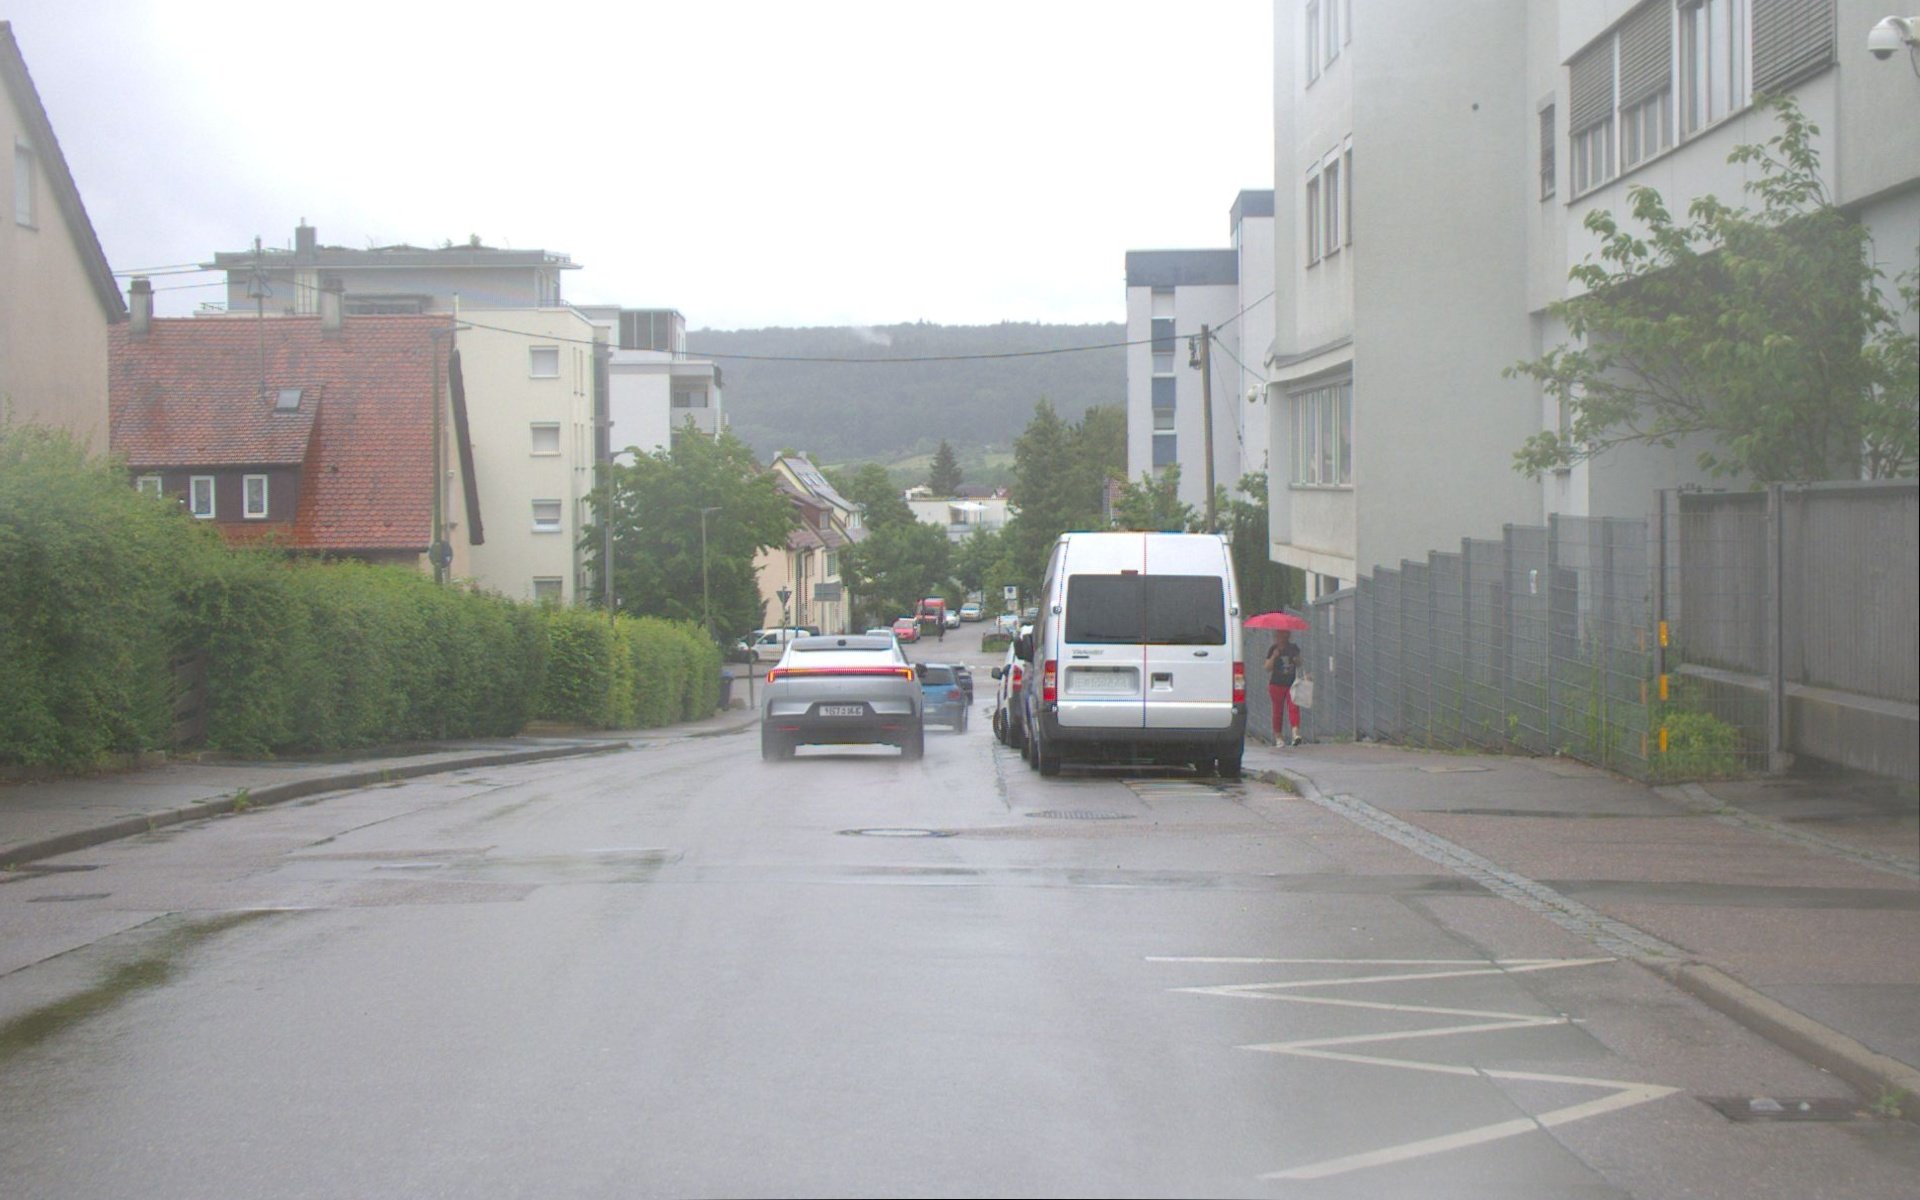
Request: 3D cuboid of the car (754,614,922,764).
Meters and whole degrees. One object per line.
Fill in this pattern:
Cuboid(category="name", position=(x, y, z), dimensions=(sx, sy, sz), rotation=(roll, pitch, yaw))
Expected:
Cuboid(category="car", position=(-1.484, 1.070, 43.400), dimensions=(1.993, 1.497, 4.671), rotation=(0, 3, -1))

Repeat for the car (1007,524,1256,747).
Cuboid(category="car", position=(1.608, 0.345, 33.663), dimensions=(1.993, 2.007, 4.000), rotation=(-2, 0, -3))
